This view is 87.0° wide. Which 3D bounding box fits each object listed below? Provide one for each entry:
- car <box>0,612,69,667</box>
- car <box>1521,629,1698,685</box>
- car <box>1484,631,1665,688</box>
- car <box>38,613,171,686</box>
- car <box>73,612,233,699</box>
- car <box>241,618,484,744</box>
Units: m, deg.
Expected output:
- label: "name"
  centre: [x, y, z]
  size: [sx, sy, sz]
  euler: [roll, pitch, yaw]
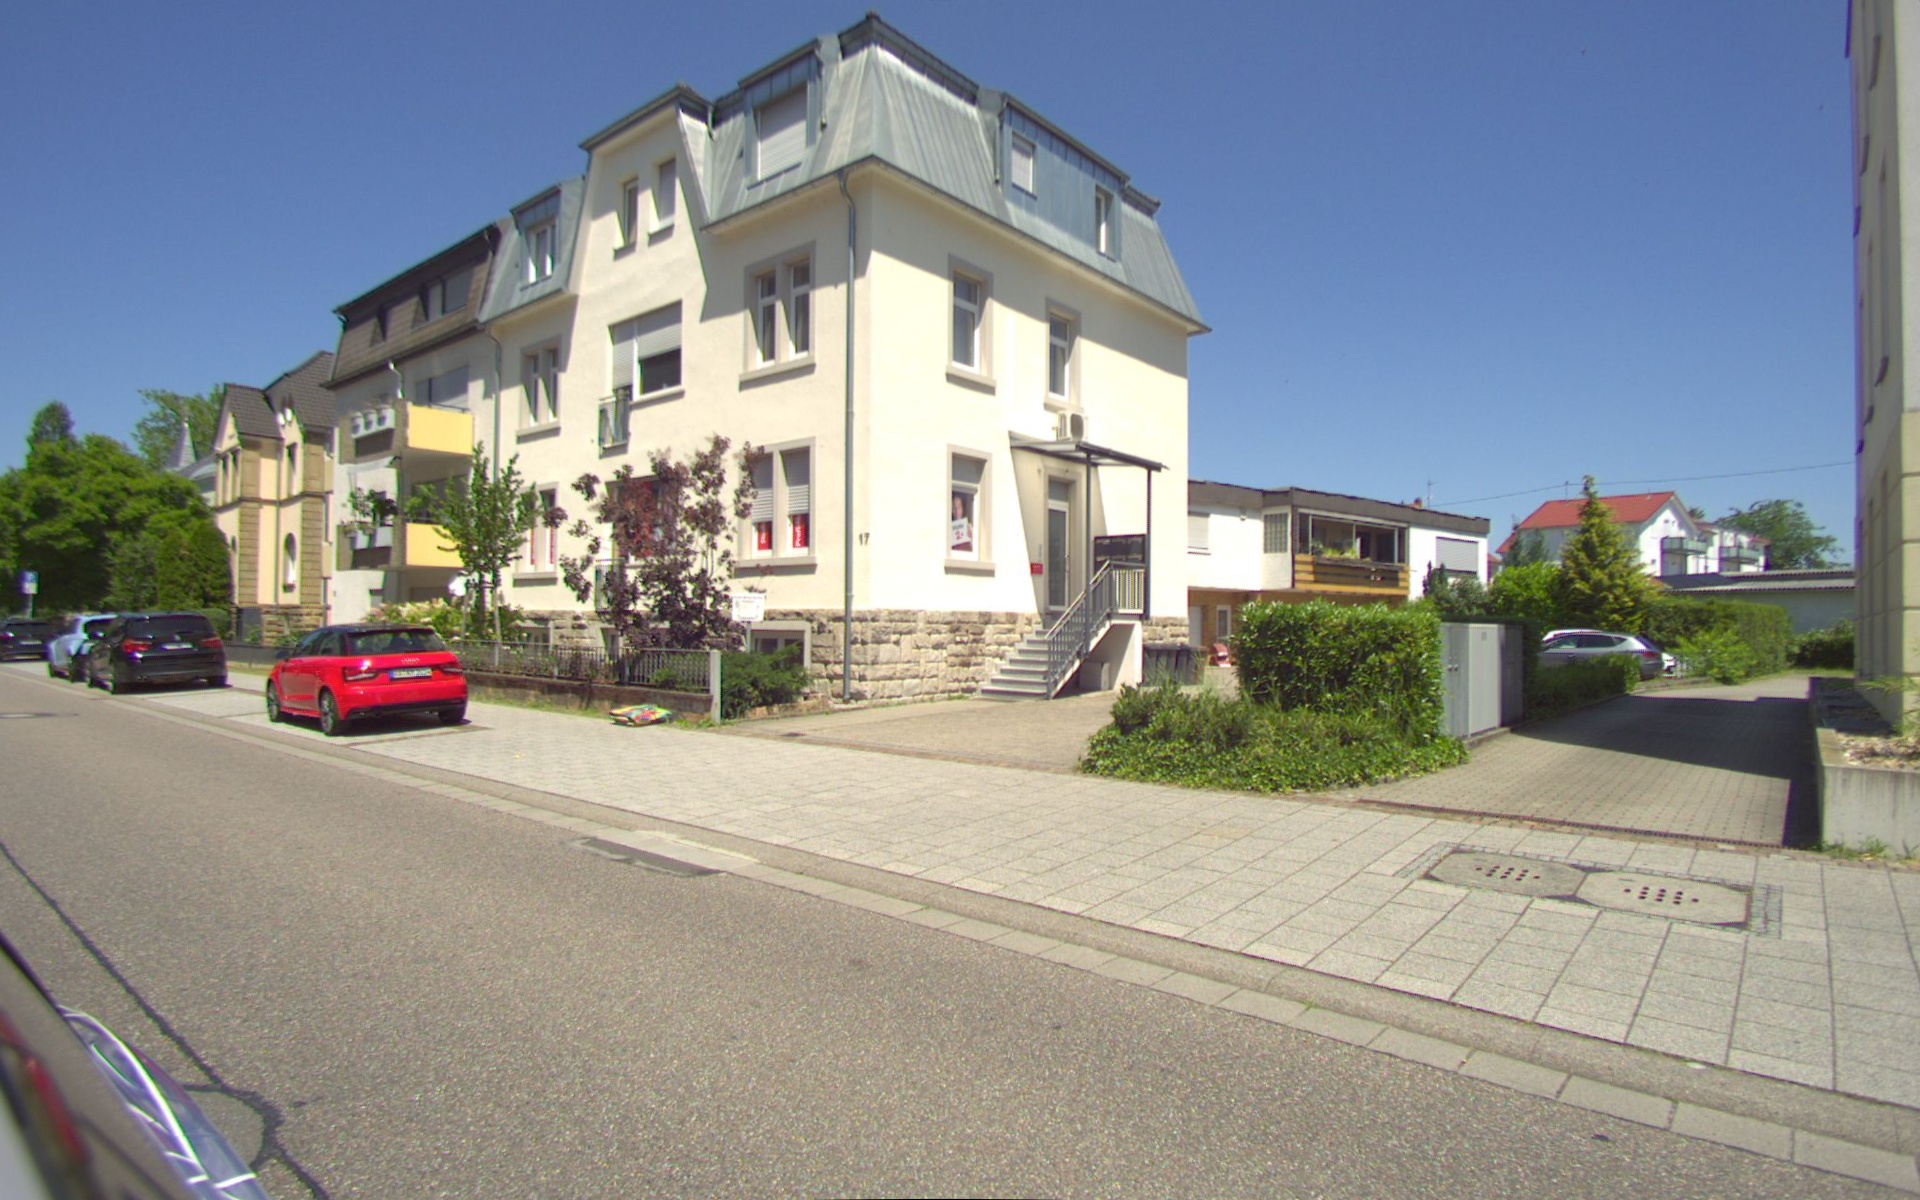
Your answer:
- label: "car"
  centre: [-32.185, 1.311, 34.741]
  size: [4.286, 1.703, 1.900]
  euler: [-1, 1, 42]
- label: "car"
  centre: [19.084, 1.624, 29.822]
  size: [4.182, 1.486, 1.974]
  euler: [-1, -2, 39]
- label: "car"
  centre: [16.993, 1.601, 28.086]
  size: [4.042, 1.449, 1.930]
  euler: [-1, -2, 41]
- label: "car"
  centre: [-21.386, 1.160, 25.240]
  size: [4.285, 1.598, 1.900]
  euler: [-1, 1, 41]
- label: "car"
  centre: [-17.267, 1.105, 21.572]
  size: [4.433, 1.598, 1.900]
  euler: [-1, 1, 41]
- label: "car"
  centre: [-8.573, 1.023, 14.370]
  size: [4.258, 1.463, 1.714]
  euler: [-1, 1, 41]
